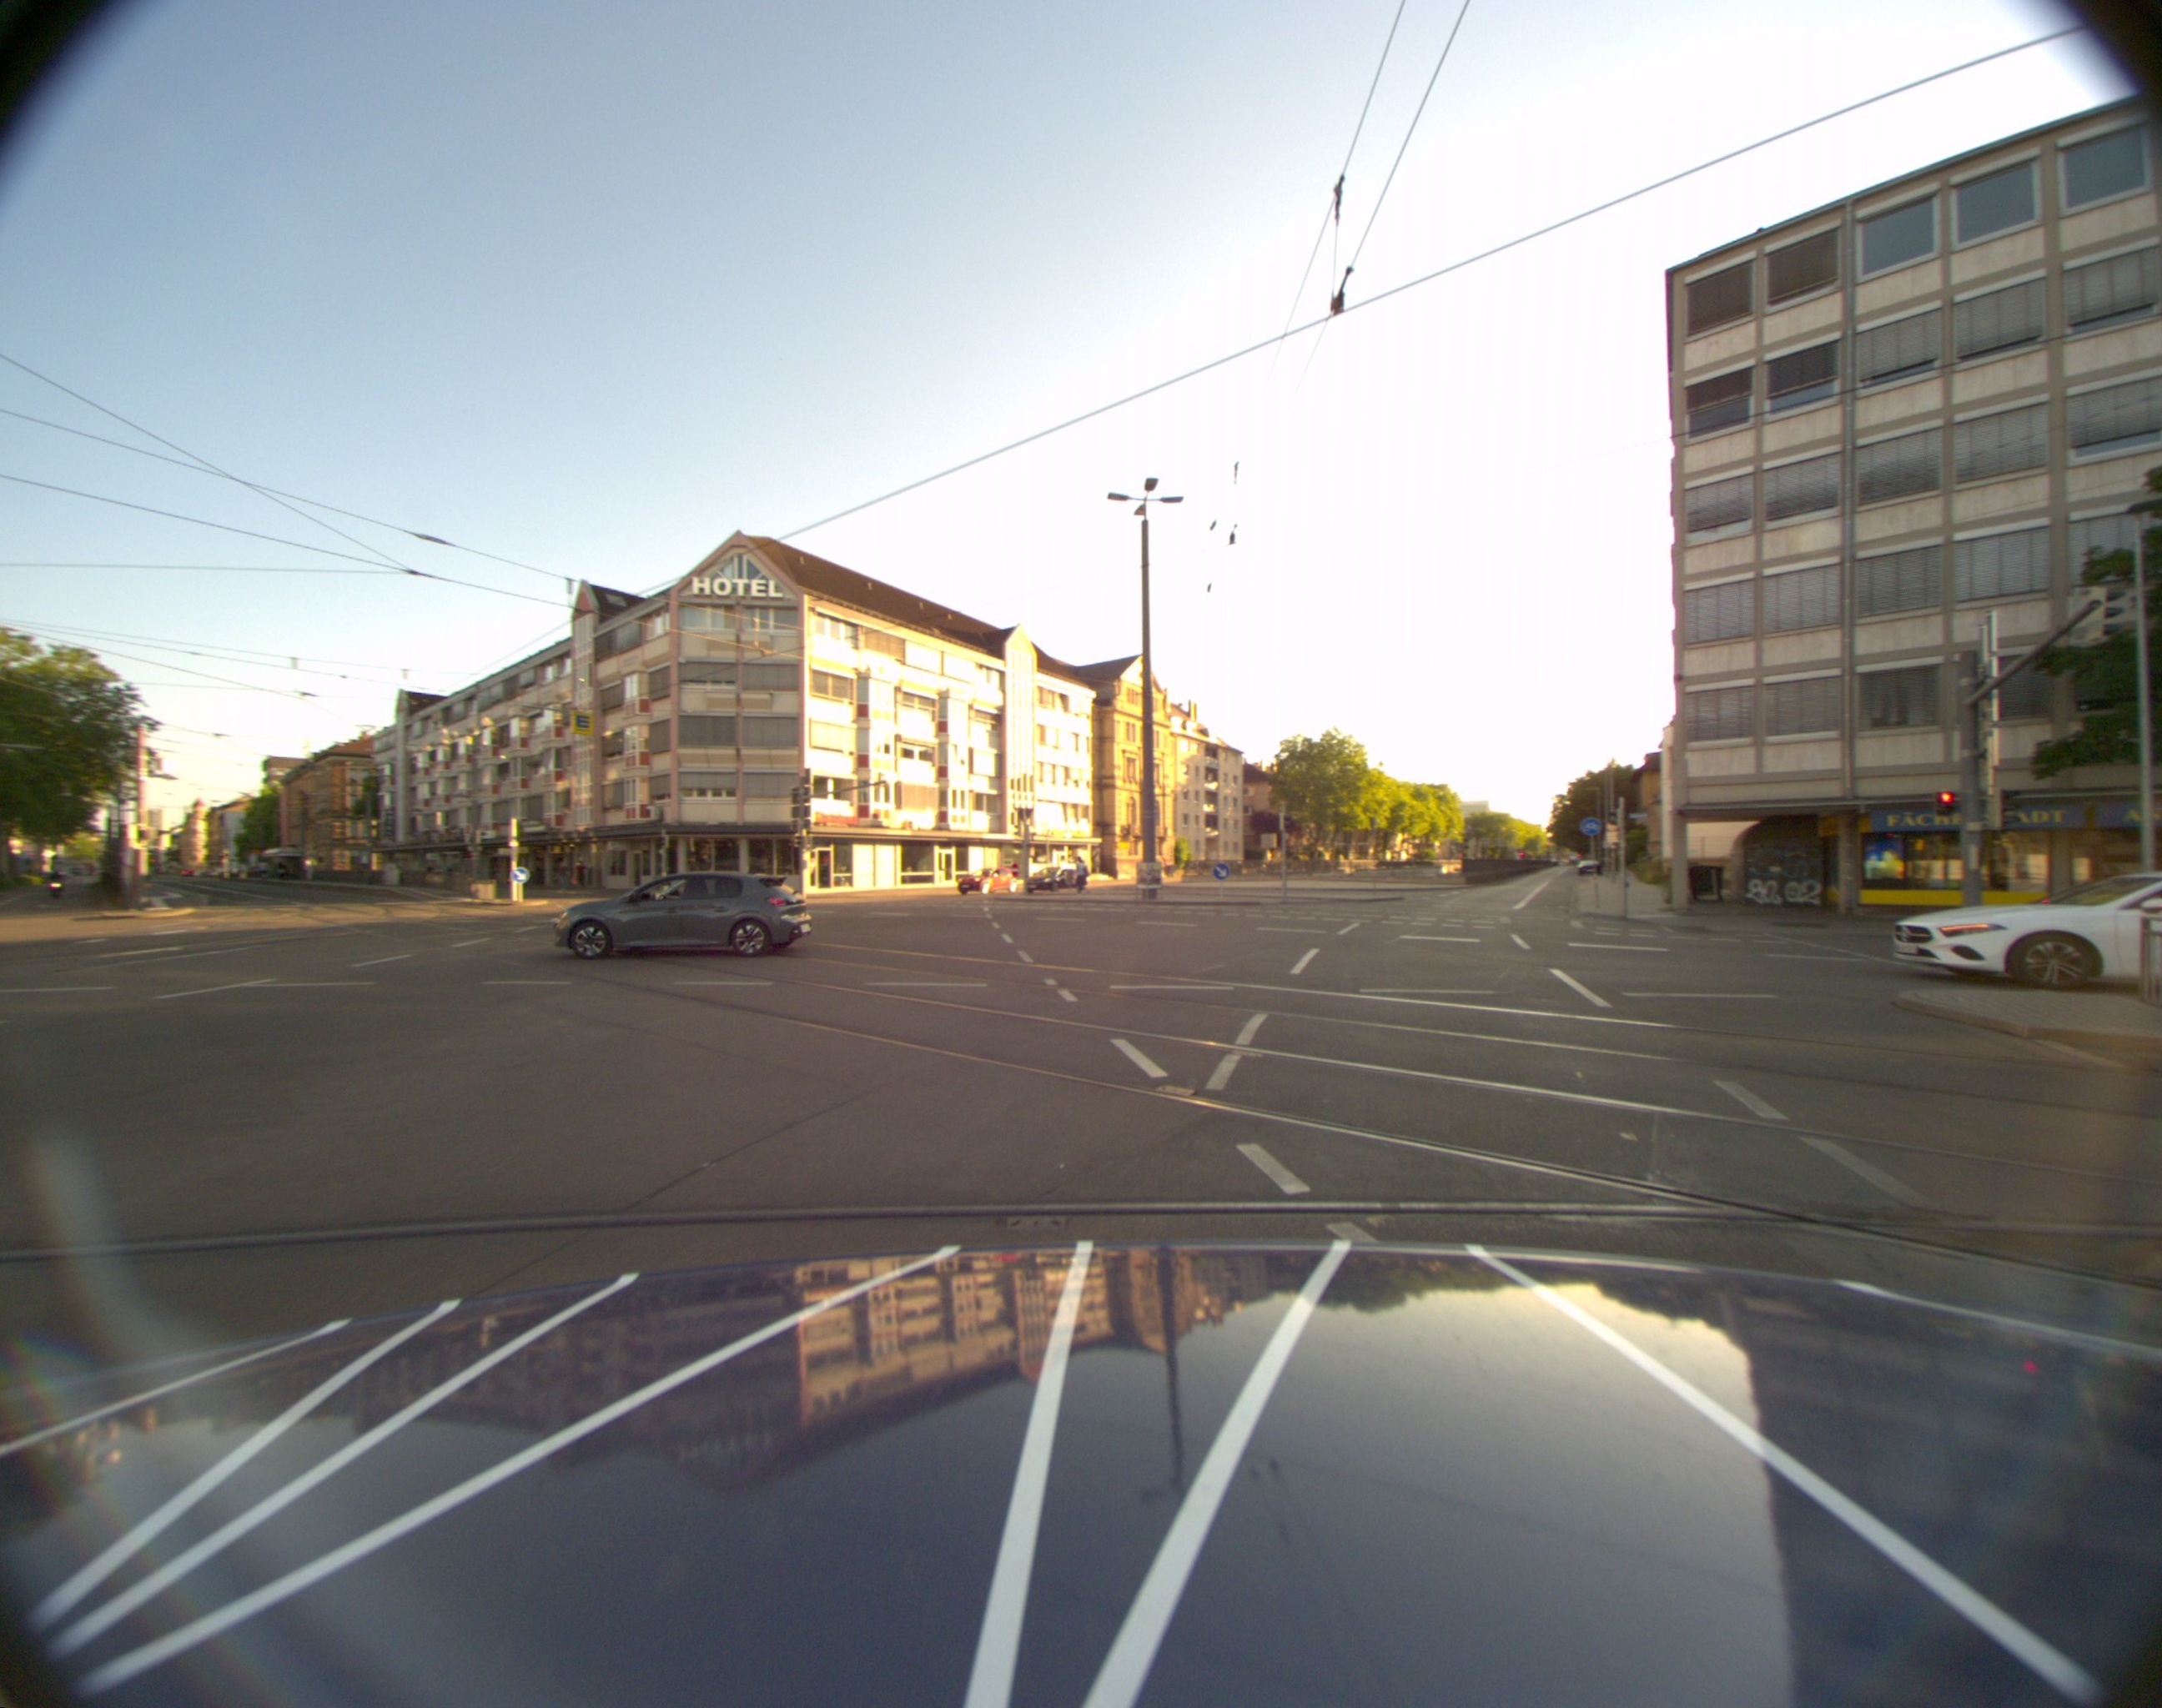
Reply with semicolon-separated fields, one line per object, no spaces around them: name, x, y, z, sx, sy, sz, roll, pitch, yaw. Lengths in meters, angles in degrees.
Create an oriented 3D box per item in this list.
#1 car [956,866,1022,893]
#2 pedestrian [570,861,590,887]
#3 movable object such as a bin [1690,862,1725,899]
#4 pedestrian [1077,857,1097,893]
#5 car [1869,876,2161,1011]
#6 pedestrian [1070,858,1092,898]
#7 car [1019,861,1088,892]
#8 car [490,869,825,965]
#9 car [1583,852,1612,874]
car;-5.173;1.393;43.277;1.644;1.414;3.904;0;0;32
pedestrian;-31.122;1.245;47.188;0.904;1.540;0.709;4;1;35
movable object such as a bin;23.698;0.986;28.733;0.957;1.319;1.417;0;1;41
pedestrian;0.242;0.898;33.024;0.706;1.573;0.825;0;1;-13
car;12.854;1.057;8.983;4.550;1.440;1.821;1;-1;28
pedestrian;-0.014;1.010;32.132;0.728;1.639;0.770;0;1;-17
car;-1.446;1.183;42.008;2.218;1.546;4.619;-2;-1;19
car;-7.111;1.023;13.186;4.700;1.495;1.917;0;0;-3
car;47.741;0.796;70.152;1.994;2.002;4.271;0;0;37
